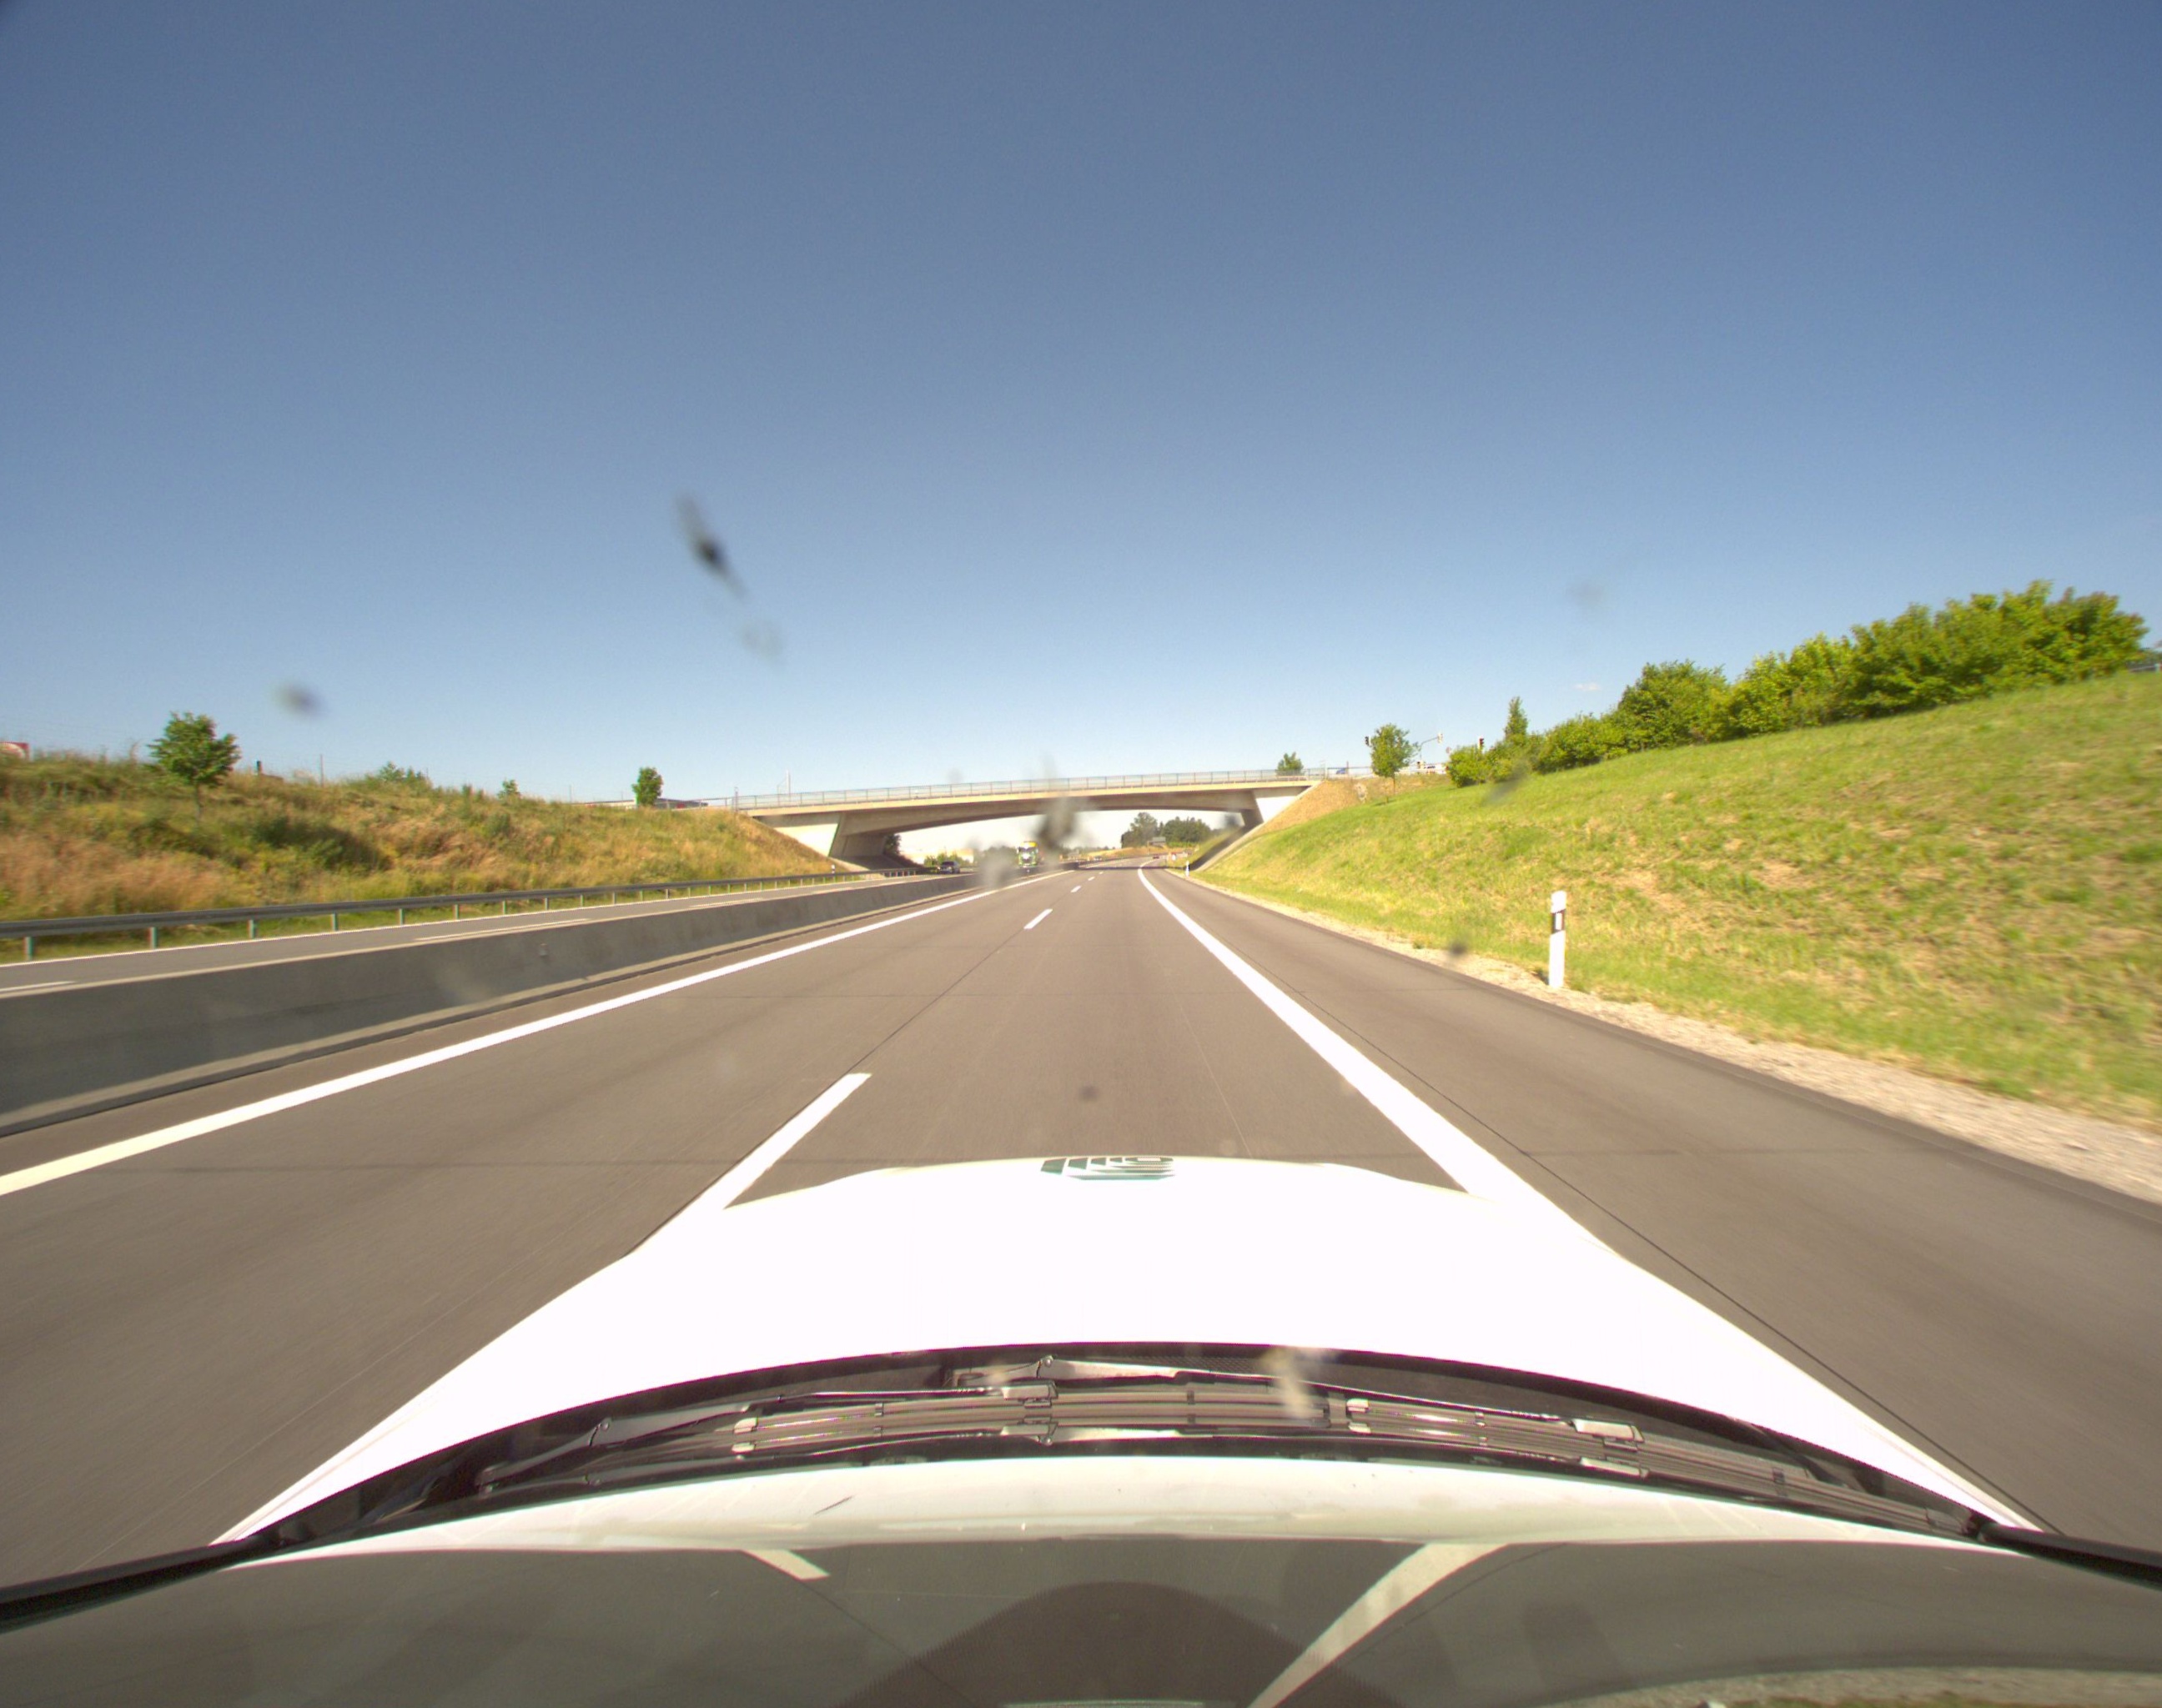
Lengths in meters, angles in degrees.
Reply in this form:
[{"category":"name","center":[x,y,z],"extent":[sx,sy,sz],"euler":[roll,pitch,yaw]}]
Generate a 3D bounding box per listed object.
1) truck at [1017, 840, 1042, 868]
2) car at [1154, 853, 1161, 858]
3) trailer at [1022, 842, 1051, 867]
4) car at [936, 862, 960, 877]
[{"category":"truck","center":[-7.418,0.033,117.921],"extent":[2.722,3.832,5.839],"euler":[-1,0,5]},{"category":"car","center":[23.024,0.367,246.554],"extent":[1.983,1.420,4.007],"euler":[-3,0,6]},{"category":"trailer","center":[-6.758,0.091,125.044],"extent":[2.653,3.657,13.252],"euler":[-1,0,4]},{"category":"car","center":[-13.983,1.605,85.872],"extent":[1.856,1.531,4.567],"euler":[-1,0,-1]}]
